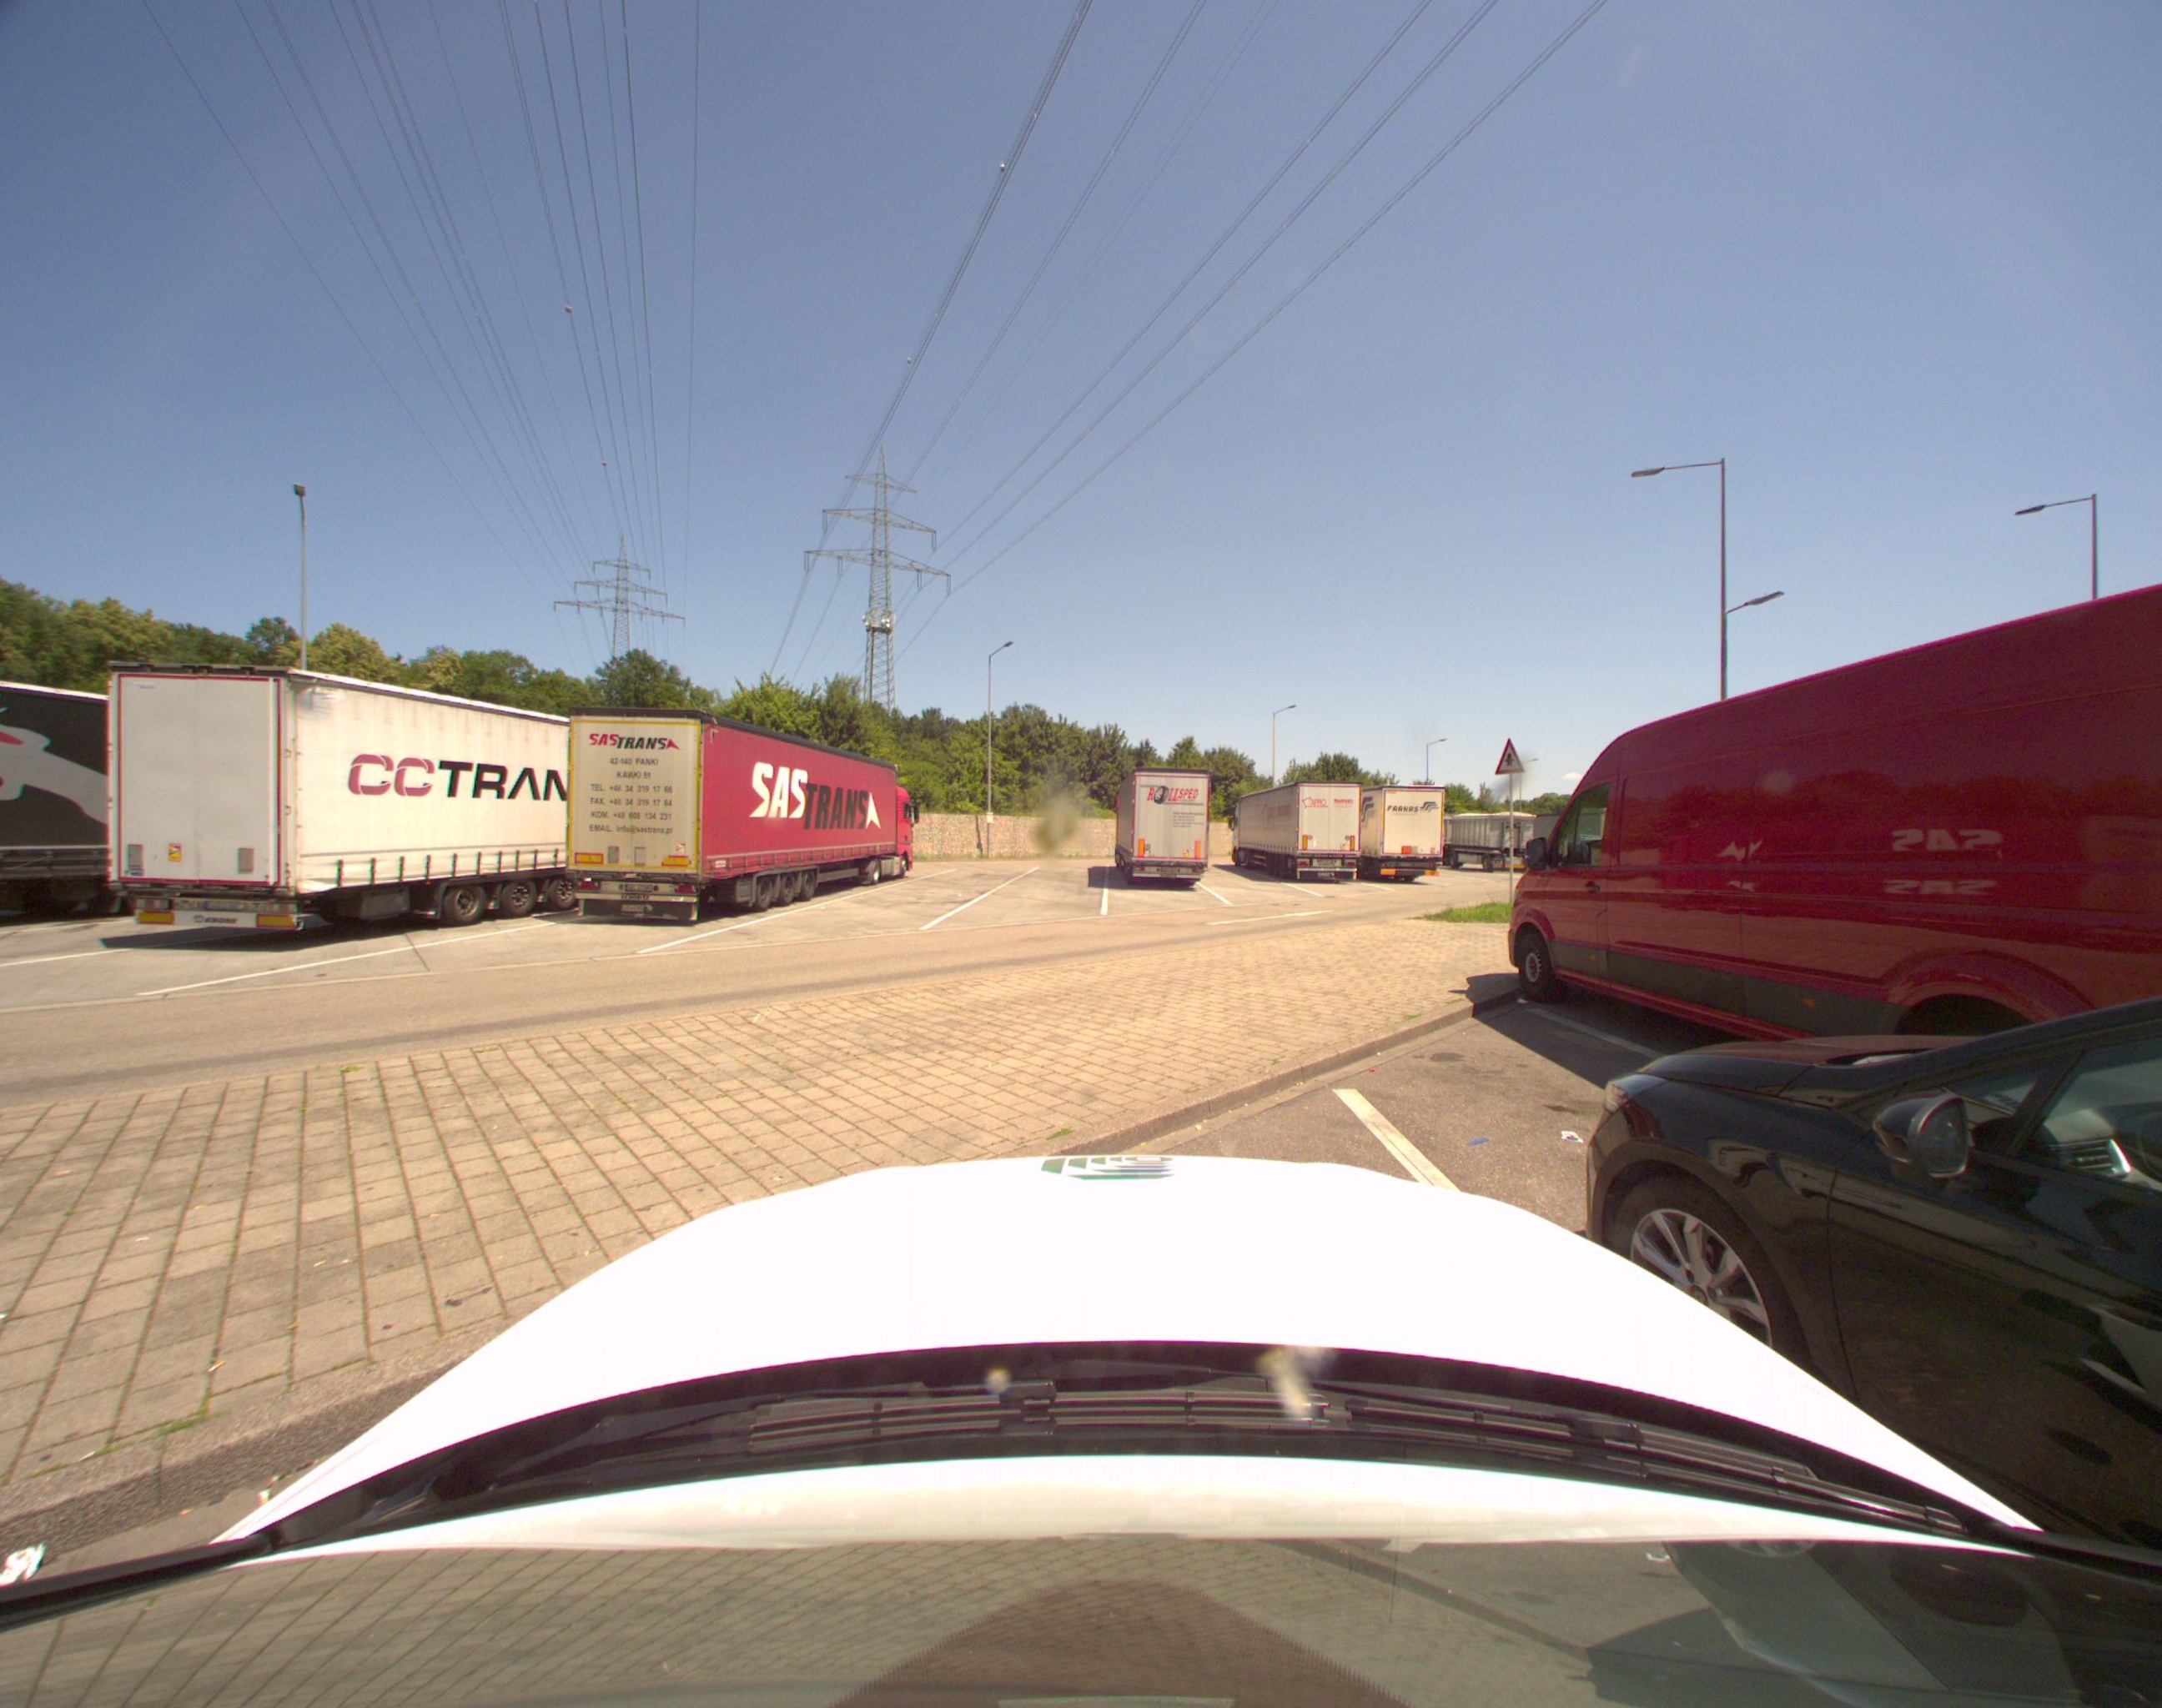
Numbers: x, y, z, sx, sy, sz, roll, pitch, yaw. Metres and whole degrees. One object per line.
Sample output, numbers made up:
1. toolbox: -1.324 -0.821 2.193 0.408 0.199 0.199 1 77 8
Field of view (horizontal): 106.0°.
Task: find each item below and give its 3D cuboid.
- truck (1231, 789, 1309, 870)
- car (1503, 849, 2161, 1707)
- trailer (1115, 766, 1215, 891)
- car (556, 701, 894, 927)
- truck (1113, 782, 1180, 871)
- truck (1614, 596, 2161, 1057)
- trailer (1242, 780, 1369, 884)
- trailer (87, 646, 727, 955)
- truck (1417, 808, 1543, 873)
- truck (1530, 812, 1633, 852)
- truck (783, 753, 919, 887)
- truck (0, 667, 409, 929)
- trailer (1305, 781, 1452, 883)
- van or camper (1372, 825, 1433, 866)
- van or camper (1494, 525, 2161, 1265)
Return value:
1. truck: 10.178 -1.366 44.531 2.856 4.037 6.960 1 2 2
2. car: 2.448 0.757 1.138 1.612 1.483 3.762 -1 1 -4
3. trailer: 3.042 -1.104 33.727 2.857 4.037 14.244 0 2 1
4. car: -8.053 -0.937 21.431 2.686 4.112 12.943 1 2 2
5. truck: 3.136 -1.394 40.815 2.857 4.037 7.029 0 2 1
6. truck: 7.933 -0.208 7.062 2.455 2.792 6.978 0 1 4
7. trailer: 9.951 -1.102 37.898 2.855 4.037 12.445 1 2 2
8. trailer: -12.168 -0.979 17.788 2.803 4.266 12.947 1 2 2
9. truck: 24.298 -0.952 50.495 2.478 3.568 11.429 1 2 2
10. truck: 38.034 -1.636 62.372 2.117 2.820 9.783 -1 1 2
11. truck: -7.753 -1.156 28.348 2.686 4.112 6.243 1 2 2
12. truck: -18.623 -1.028 16.269 2.803 4.190 8.793 1 2 2
13. trailer: 13.639 -1.120 38.874 2.855 4.037 12.445 1 2 2
14. van or camper: 20.923 -0.556 53.280 2.096 2.561 5.376 -1 1 3
15. van or camper: 5.132 0.103 5.490 1.986 2.654 6.490 -1 1 6
